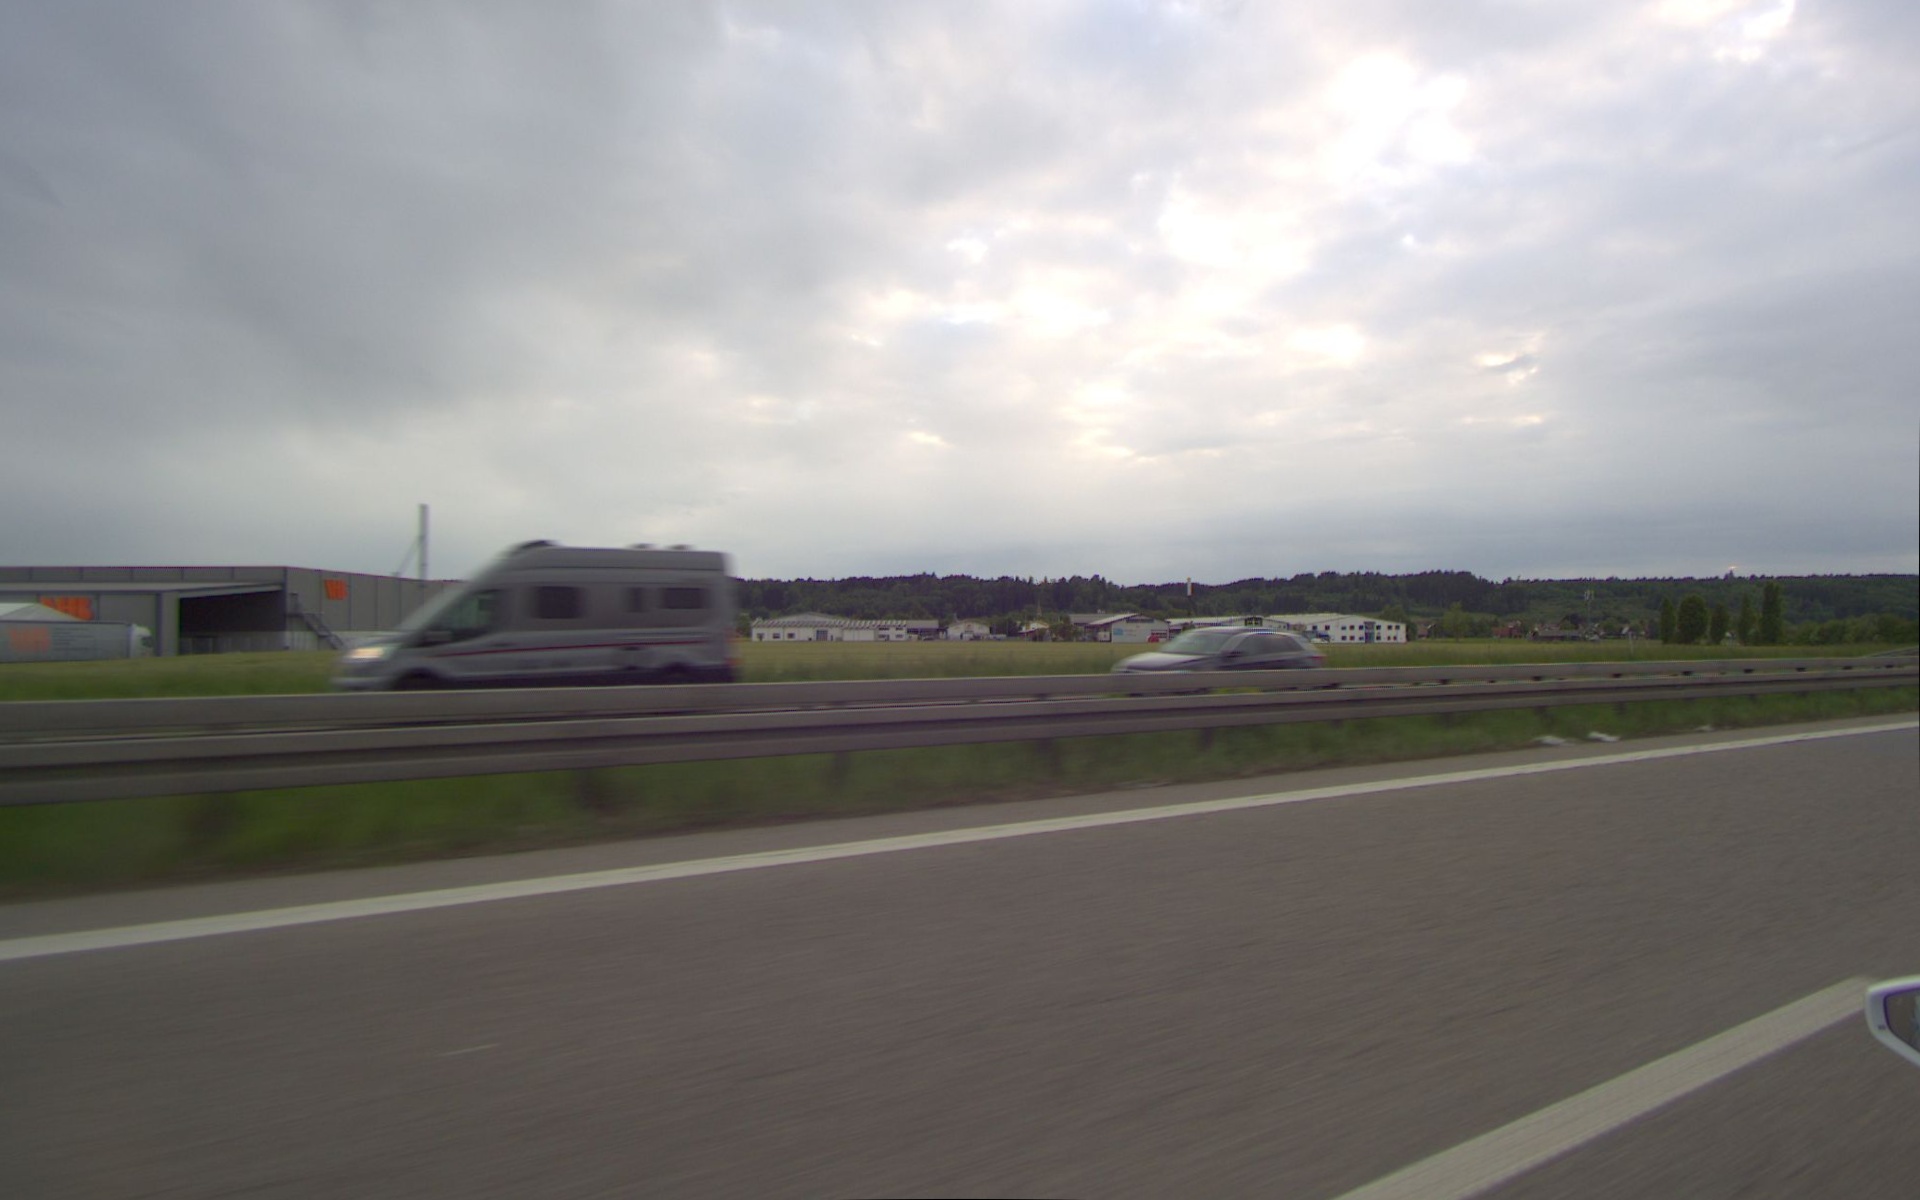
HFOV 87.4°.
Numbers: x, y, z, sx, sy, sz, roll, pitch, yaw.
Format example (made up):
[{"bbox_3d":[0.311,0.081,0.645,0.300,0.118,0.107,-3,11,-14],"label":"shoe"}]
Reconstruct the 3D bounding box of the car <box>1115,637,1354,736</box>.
[{"bbox_3d":[4.958,1.468,18.037,4.151,1.528,1.738,1,0,-30],"label":"car"}]

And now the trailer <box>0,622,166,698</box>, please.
[{"bbox_3d":[-67.672,4.403,74.921,3.500,5.202,17.037,1,-3,-2],"label":"trailer"}]

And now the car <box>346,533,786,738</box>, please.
[{"bbox_3d":[-6.235,0.549,16.403,6.352,2.838,2.095,1,0,-30],"label":"car"}]
